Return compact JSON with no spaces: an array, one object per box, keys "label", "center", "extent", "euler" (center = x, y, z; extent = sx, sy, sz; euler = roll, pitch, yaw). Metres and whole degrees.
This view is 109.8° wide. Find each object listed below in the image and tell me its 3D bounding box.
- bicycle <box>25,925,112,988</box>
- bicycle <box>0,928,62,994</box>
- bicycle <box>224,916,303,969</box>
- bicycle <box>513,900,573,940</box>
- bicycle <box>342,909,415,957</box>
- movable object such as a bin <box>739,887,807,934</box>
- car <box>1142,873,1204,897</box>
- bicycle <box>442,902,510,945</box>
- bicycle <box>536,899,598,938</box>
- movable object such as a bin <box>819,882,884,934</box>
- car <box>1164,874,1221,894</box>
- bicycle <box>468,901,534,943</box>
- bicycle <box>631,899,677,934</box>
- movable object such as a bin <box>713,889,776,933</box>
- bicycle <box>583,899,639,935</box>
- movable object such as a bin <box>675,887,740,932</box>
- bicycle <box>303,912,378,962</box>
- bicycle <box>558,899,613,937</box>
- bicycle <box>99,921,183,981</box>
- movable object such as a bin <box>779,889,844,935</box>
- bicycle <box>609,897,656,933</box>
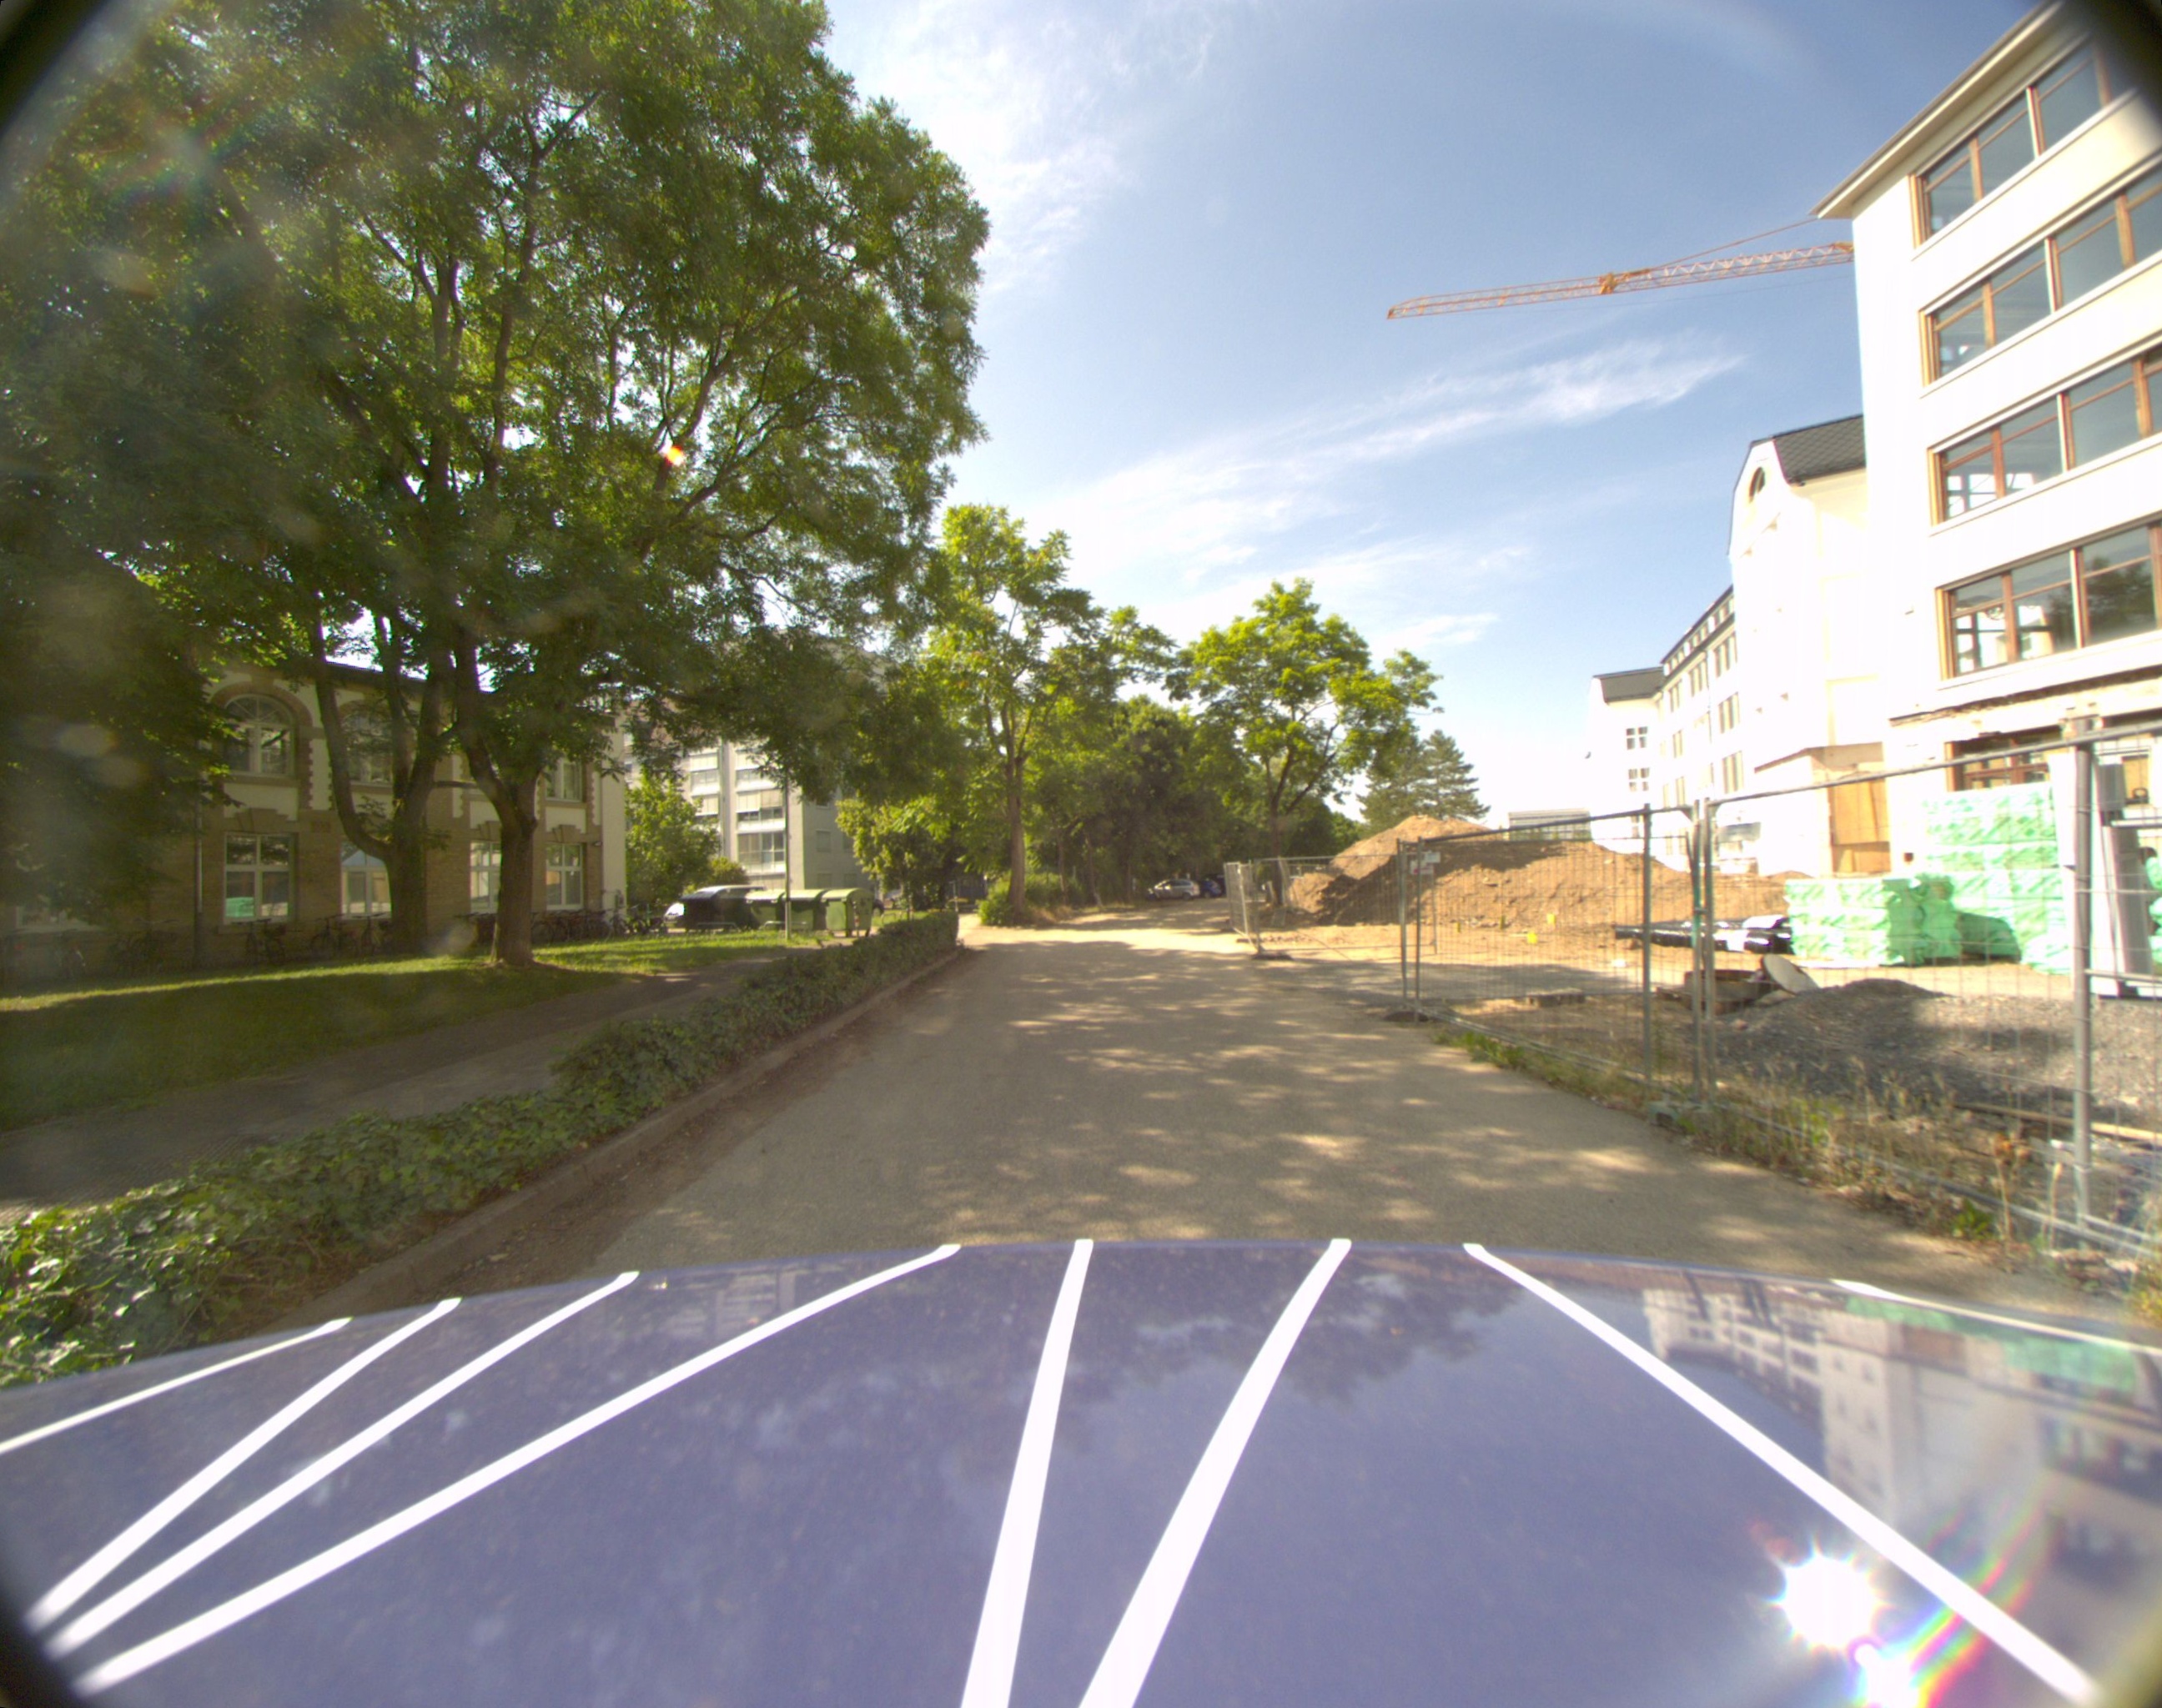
[{"label":"bicycle","center":[-20.347,2.037,15.255],"extent":[2.097,1.154,0.589],"euler":[-3,-1,24]},{"label":"bicycle","center":[-20.492,2.040,14.635],"extent":[2.097,1.154,0.589],"euler":[-3,-1,24]},{"label":"bicycle","center":[-19.069,2.045,17.711],"extent":[2.097,1.154,0.589],"euler":[-3,-1,24]},{"label":"bicycle","center":[-16.390,2.013,23.137],"extent":[1.917,1.154,0.589],"euler":[-3,-1,24]},{"label":"bicycle","center":[-18.182,2.028,19.660],"extent":[2.097,1.154,0.589],"euler":[-3,-1,24]},{"label":"movable object such as a bin","center":[-9.623,1.761,23.752],"extent":[1.499,1.353,1.217],"euler":[-2,-1,21]},{"label":"car","center":[6.521,2.186,53.816],"extent":[3.991,1.499,2.003],"euler":[-2,-2,19]},{"label":"bicycle","center":[-17.170,1.980,21.550],"extent":[2.097,1.154,0.589],"euler":[-3,-1,24]},{"label":"bicycle","center":[-16.144,2.037,23.849],"extent":[2.097,1.154,0.589],"euler":[-3,-1,24]},{"label":"movable object such as a bin","center":[-6.842,1.601,22.651],"extent":[1.389,1.454,1.218],"euler":[-3,-1,36]},{"label":"car","center":[8.639,2.334,58.778],"extent":[3.991,1.433,2.003],"euler":[-2,-2,19]},{"label":"bicycle","center":[-16.943,1.982,22.184],"extent":[2.097,1.154,0.589],"euler":[-3,-1,24]},{"label":"bicycle","center":[-14.695,2.134,26.135],"extent":[1.940,1.154,0.558],"euler":[-3,-1,34]},{"label":"movable object such as a bin","center":[-10.882,1.838,24.619],"extent":[1.349,1.341,1.217],"euler":[-2,-1,21]},{"label":"bicycle","center":[-15.576,2.089,25.170],"extent":[1.847,1.154,0.614],"euler":[-3,-1,24]},{"label":"movable object such as a bin","center":[-12.355,1.836,25.166],"extent":[1.433,1.401,1.252],"euler":[-2,-1,20]},{"label":"bicycle","center":[-18.469,2.050,18.938],"extent":[2.097,1.154,0.589],"euler":[-3,-1,24]},{"label":"bicycle","center":[-15.887,2.064,24.363],"extent":[1.909,1.154,0.495],"euler":[-3,-1,24]},{"label":"bicycle","center":[-19.903,2.035,16.079],"extent":[2.097,1.154,0.589],"euler":[-3,-1,24]},{"label":"movable object such as a bin","center":[-8.232,1.765,23.233],"extent":[1.352,1.292,1.217],"euler":[-2,-1,21]},{"label":"bicycle","center":[-15.168,2.061,25.697],"extent":[1.800,1.154,0.508],"euler":[-3,-1,29]}]
